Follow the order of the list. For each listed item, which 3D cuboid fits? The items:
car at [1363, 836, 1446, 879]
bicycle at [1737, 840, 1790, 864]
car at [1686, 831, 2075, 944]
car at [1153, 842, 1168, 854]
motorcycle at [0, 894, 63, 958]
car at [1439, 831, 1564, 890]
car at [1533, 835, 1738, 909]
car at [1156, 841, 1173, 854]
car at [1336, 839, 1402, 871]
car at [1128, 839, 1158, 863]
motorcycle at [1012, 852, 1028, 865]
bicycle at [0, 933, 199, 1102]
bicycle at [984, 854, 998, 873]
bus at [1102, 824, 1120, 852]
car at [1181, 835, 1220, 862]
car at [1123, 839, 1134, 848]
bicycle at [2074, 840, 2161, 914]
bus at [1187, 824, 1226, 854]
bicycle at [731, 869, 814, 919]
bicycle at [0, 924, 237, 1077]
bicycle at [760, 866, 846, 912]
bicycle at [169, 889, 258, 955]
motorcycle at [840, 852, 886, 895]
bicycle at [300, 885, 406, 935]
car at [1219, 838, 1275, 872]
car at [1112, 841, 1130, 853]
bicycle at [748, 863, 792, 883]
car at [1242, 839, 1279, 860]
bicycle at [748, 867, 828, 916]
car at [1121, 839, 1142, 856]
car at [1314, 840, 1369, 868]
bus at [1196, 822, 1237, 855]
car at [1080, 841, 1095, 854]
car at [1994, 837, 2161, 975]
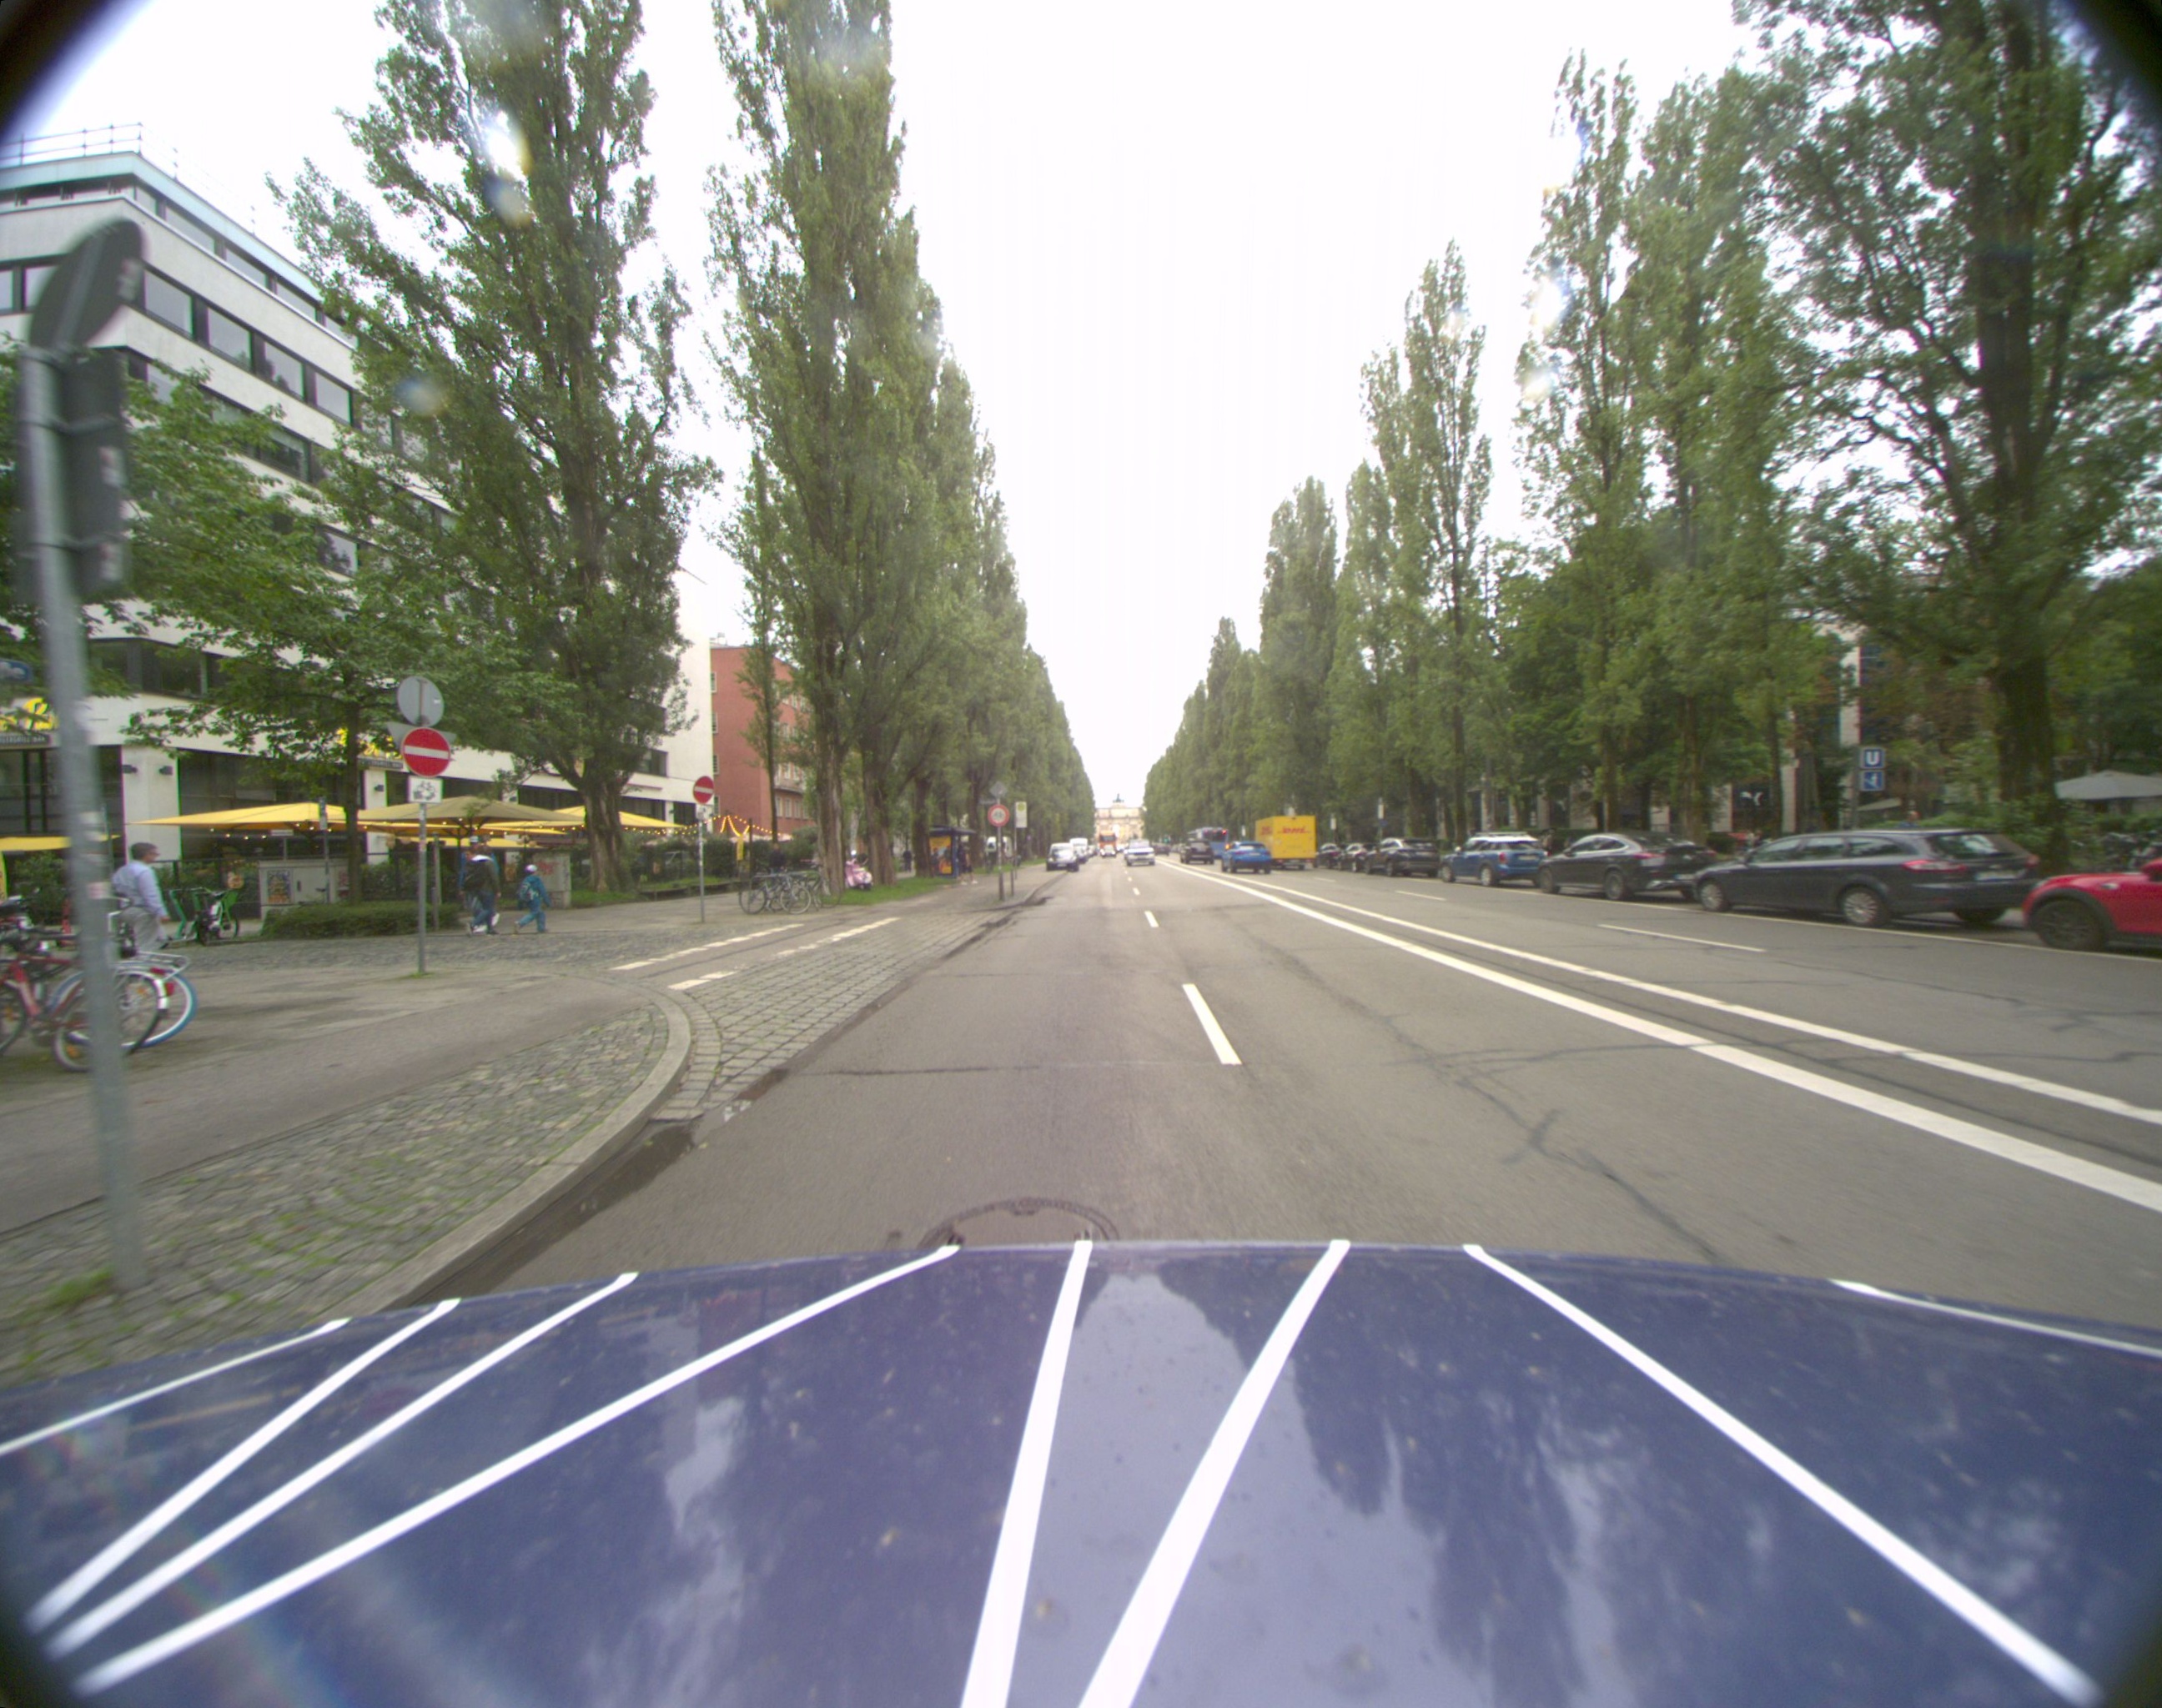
[{"bbox_3d":[13.337,0.098,31.602,1.792,1.591,4.237,-2,1,2],"label":"car"},{"bbox_3d":[25.204,-0.078,28.091,1.361,0.851,0.532,-1,2,27],"label":"bicycle"},{"bbox_3d":[12.832,0.426,12.768,1.792,1.520,4.623,-2,1,2],"label":"car"},{"bbox_3d":[11.982,-0.920,114.314,1.998,1.712,4.815,0,1,3],"label":"car"},{"bbox_3d":[-21.446,1.434,15.362,1.986,1.189,0.772,-2,0,44],"label":"motorcycle"},{"bbox_3d":[13.276,0.153,24.285,1.792,1.722,4.078,0,1,1],"label":"car"},{"bbox_3d":[13.122,0.345,18.395,1.792,1.520,4.514,-2,1,2],"label":"car"},{"bbox_3d":[10.377,-0.814,94.386,1.847,1.518,3.752,-1,1,4],"label":"car"},{"bbox_3d":[13.615,0.015,36.132,1.792,1.404,3.881,-2,1,2],"label":"car"},{"bbox_3d":[4.389,-0.231,54.232,2.010,1.572,4.000,-2,1,3],"label":"car"},{"bbox_3d":[-4.654,0.360,57.883,0.468,0.933,1.658,-3,1,-30],"label":"motorcycle"},{"bbox_3d":[-7.322,1.127,5.273,1.874,1.044,0.476,-2,1,3],"label":"bicycle"},{"bbox_3d":[-5.090,0.536,43.014,0.553,1.016,1.762,-2,1,-1],"label":"bicycle"},{"bbox_3d":[4.733,-2.434,119.356,2.647,4.088,9.796,-2,1,2],"label":"bus"},{"bbox_3d":[8.485,-0.422,54.356,1.998,1.738,5.063,1,1,0],"label":"car"},{"bbox_3d":[8.607,-1.884,138.085,2.010,1.571,4.000,-1,1,3],"label":"car"},{"bbox_3d":[17.056,0.342,12.021,1.740,1.118,0.676,-2,1,3],"label":"bicycle"},{"bbox_3d":[13.847,-1.590,84.345,2.924,3.034,9.796,-2,1,2],"label":"bus"},{"bbox_3d":[-7.060,0.907,17.413,1.701,1.087,0.492,-2,1,7],"label":"bicycle"},{"bbox_3d":[-7.740,1.110,5.820,1.875,1.044,0.475,-1,1,-3],"label":"bicycle"},{"bbox_3d":[-6.977,0.880,19.100,1.981,1.087,0.492,-2,1,7],"label":"bicycle"},{"bbox_3d":[-17.275,1.322,15.179,0.554,1.136,1.758,-3,1,-29],"label":"bicycle"},{"bbox_3d":[-7.130,0.605,24.777,0.631,1.190,1.984,-3,7,-42],"label":"motorcycle"},{"bbox_3d":[-16.106,1.232,16.835,1.761,1.016,0.554,-2,2,0],"label":"bicycle"},{"bbox_3d":[7.971,0.007,36.817,1.870,1.570,4.422,0,1,2],"label":"car"},{"bbox_3d":[4.821,-0.864,91.882,1.648,1.389,3.998,-2,1,-4],"label":"car"},{"bbox_3d":[-14.990,0.908,36.663,1.801,0.907,0.620,-2,1,0],"label":"bicycle"},{"bbox_3d":[12.674,-0.340,53.906,1.792,1.404,3.881,-1,1,2],"label":"car"},{"bbox_3d":[-6.982,0.895,18.127,1.701,1.087,0.492,-2,1,7],"label":"bicycle"},{"bbox_3d":[5.196,-0.679,78.396,2.010,1.572,4.000,-2,1,3],"label":"car"},{"bbox_3d":[14.131,-0.049,41.396,1.792,1.404,3.881,-2,1,2],"label":"car"},{"bbox_3d":[13.453,-1.505,76.190,2.924,3.034,8.518,-2,1,3],"label":"bus"},{"bbox_3d":[0.923,-0.992,107.035,2.011,1.747,3.999,-2,1,0],"label":"car"},{"bbox_3d":[12.423,0.560,7.787,1.676,1.440,3.874,-2,1,5],"label":"car"}]
